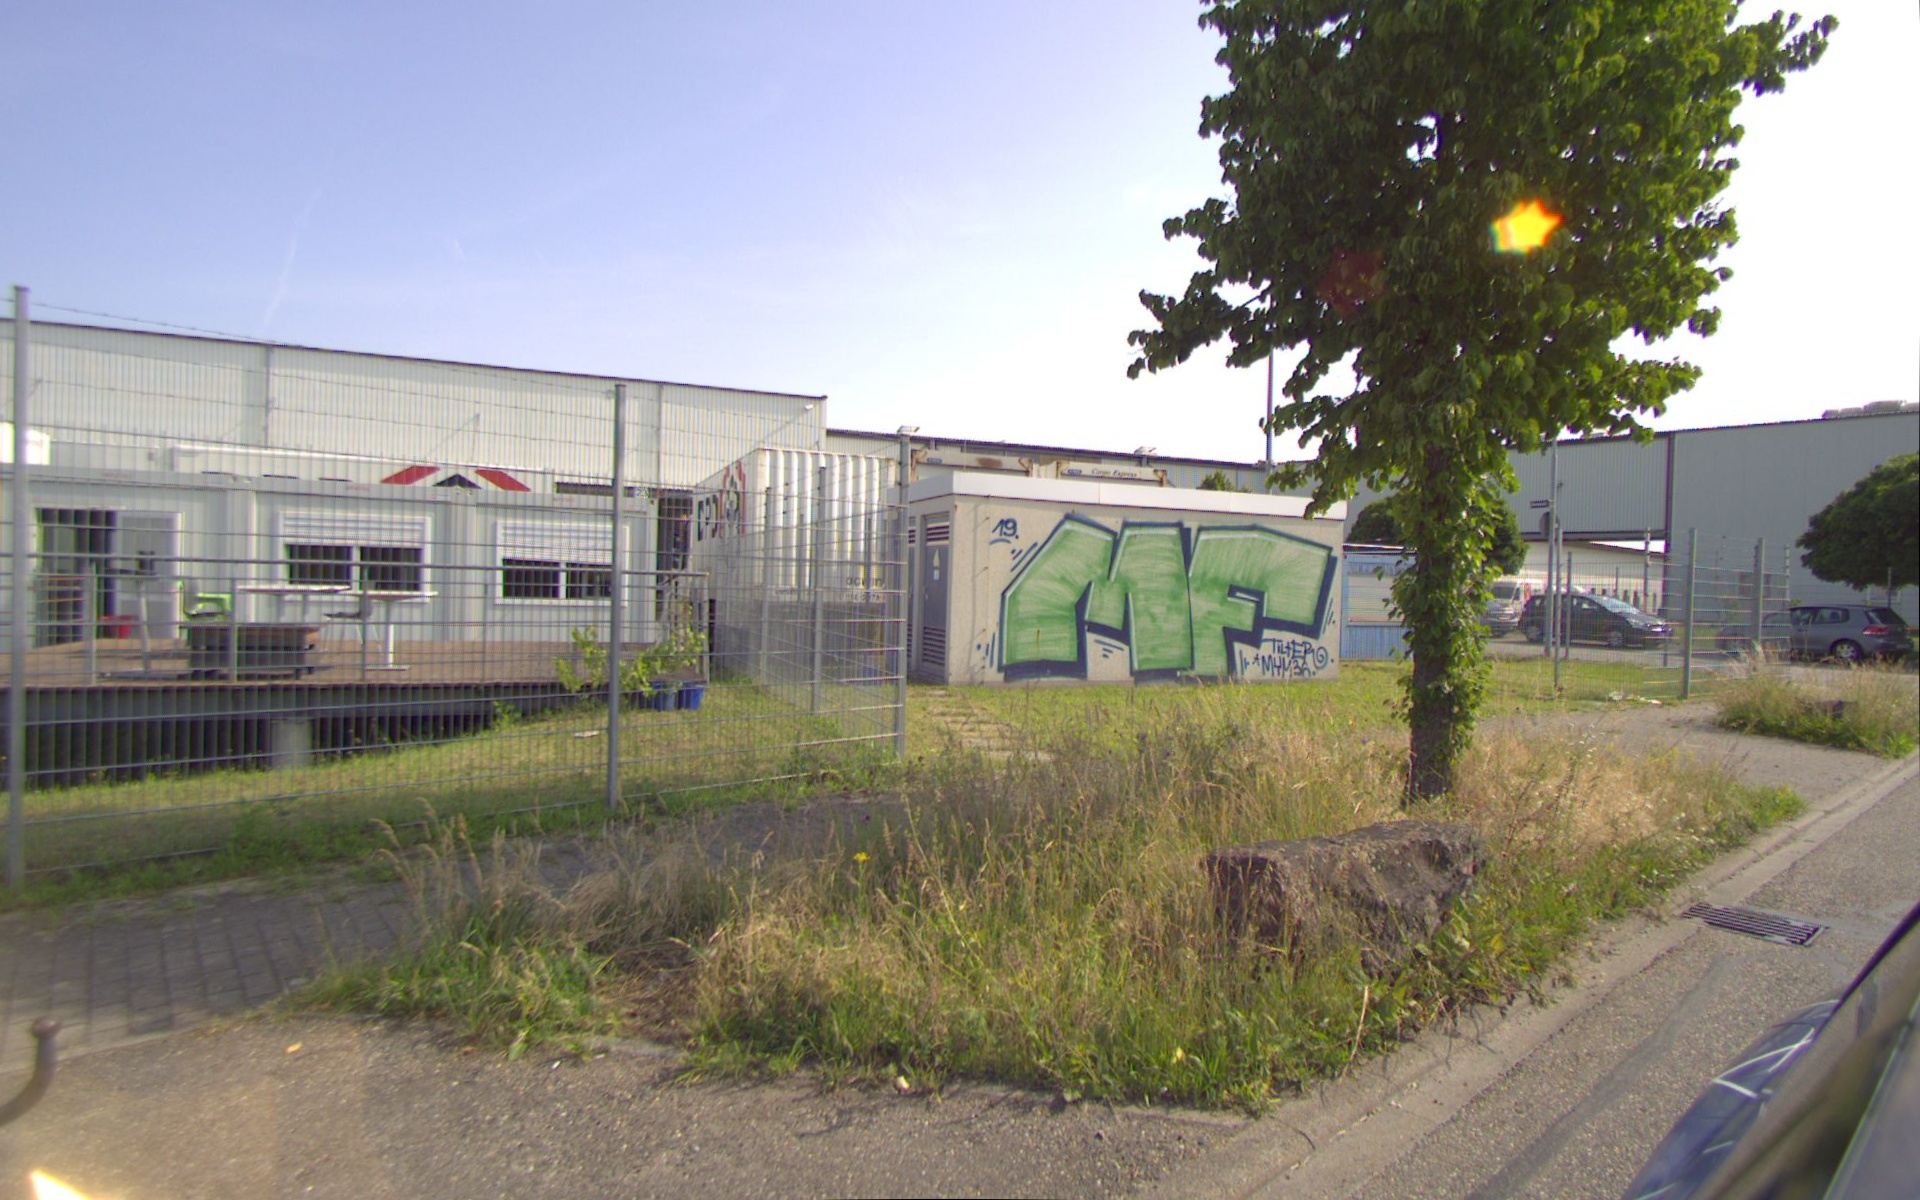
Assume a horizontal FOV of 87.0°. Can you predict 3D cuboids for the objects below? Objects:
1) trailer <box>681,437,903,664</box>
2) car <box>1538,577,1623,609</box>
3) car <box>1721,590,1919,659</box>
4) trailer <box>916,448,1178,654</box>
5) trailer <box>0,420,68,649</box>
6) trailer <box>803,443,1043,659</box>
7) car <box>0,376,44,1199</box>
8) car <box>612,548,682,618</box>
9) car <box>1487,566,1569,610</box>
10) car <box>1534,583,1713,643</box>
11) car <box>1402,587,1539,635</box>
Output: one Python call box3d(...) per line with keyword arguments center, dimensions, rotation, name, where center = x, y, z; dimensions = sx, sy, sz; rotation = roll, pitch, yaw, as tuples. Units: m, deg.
box3d(center=(-3.963, -0.864, 21.547), dimensions=(2.732, 3.808, 8.778), rotation=(1, 0, -22), name="trailer")
box3d(center=(44.720, -0.559, 73.067), dimensions=(1.895, 2.110, 4.847), rotation=(1, 2, -37), name="car")
box3d(center=(22.210, 0.557, 25.989), dimensions=(1.692, 1.542, 3.970), rotation=(-2, 2, -20), name="car")
box3d(center=(1.600, -1.056, 23.897), dimensions=(2.718, 3.942, 8.582), rotation=(-1, 1, -20), name="trailer")
box3d(center=(-17.157, -1.174, 15.326), dimensions=(2.717, 3.944, 8.579), rotation=(2, -1, -23), name="trailer")
box3d(center=(-1.264, -1.014, 22.958), dimensions=(2.717, 3.942, 8.584), rotation=(1, 2, -21), name="trailer")
box3d(center=(-3.439, 0.469, 0.505), dimensions=(4.372, 1.646, 1.802), rotation=(1, 3, -42), name="car")
box3d(center=(-12.279, -0.686, 39.481), dimensions=(1.958, 2.550, 4.509), rotation=(1, 1, -25), name="car")
box3d(center=(34.597, -0.735, 61.541), dimensions=(6.582, 2.549, 2.172), rotation=(0, 2, -40), name="car")
box3d(center=(19.979, 0.408, 30.679), dimensions=(1.838, 1.646, 4.276), rotation=(2, -1, -20), name="car")
box3d(center=(18.204, 0.351, 36.360), dimensions=(1.691, 1.536, 4.502), rotation=(-2, 2, -18), name="car")
